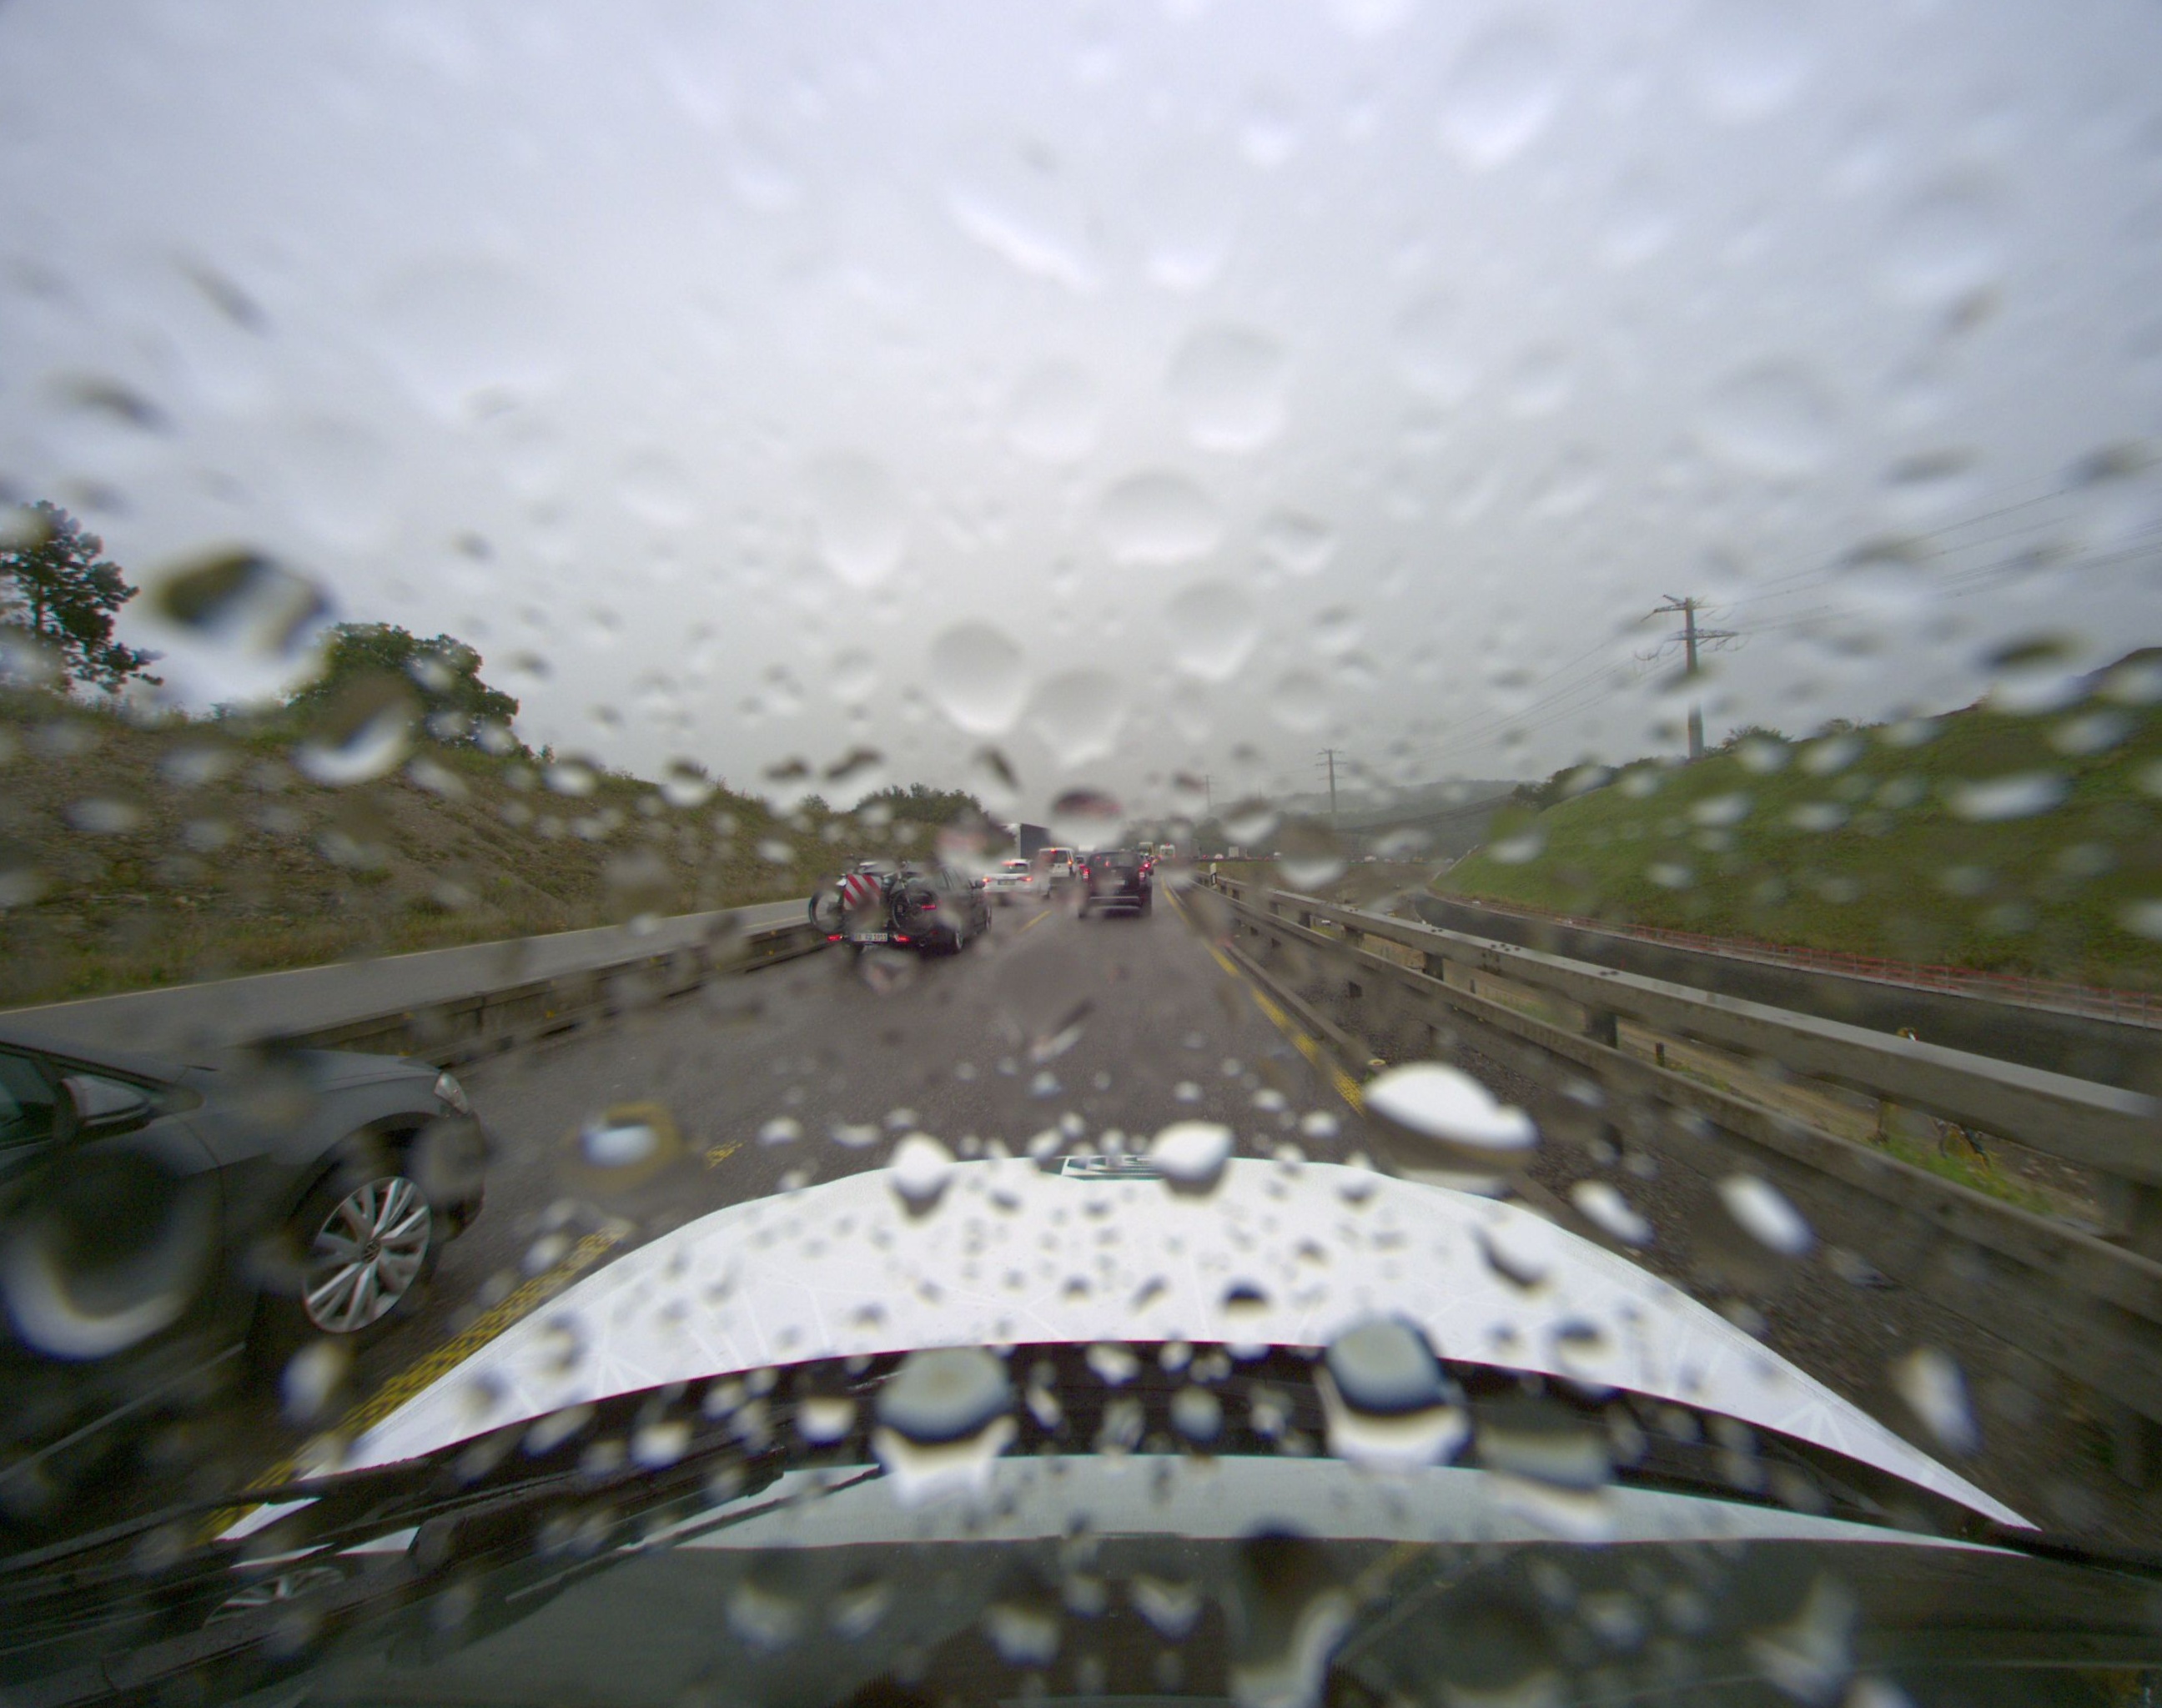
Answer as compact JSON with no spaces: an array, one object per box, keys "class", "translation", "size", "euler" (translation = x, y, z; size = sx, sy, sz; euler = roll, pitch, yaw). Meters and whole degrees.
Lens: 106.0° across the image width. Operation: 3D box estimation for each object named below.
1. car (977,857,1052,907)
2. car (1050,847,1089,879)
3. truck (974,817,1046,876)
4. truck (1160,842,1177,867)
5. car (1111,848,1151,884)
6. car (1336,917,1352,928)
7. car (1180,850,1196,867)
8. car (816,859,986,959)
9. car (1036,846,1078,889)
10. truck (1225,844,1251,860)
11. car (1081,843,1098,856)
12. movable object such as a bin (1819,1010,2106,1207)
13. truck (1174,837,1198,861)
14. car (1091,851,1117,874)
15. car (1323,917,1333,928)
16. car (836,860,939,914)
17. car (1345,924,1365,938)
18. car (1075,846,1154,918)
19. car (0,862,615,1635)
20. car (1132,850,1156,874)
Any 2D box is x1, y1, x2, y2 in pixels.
[{"class":"car","translation":[-2.081,0.838,26.697],"size":[1.860,1.460,4.551],"euler":[0,0,2]},{"class":"car","translation":[-0.597,0.474,46.124],"size":[1.859,1.708,4.095],"euler":[0,0,3]},{"class":"truck","translation":[-5.276,-0.536,64.047],"size":[2.918,4.097,14.415],"euler":[0,0,6]},{"class":"truck","translation":[11.669,0.033,108.128],"size":[2.137,3.166,6.473],"euler":[0,0,7]},{"class":"car","translation":[2.445,0.567,40.303],"size":[1.860,1.708,4.003],"euler":[0,0,2]},{"class":"car","translation":[51.193,13.336,158.572],"size":[1.984,1.816,4.006],"euler":[-1,0,6]},{"class":"car","translation":[12.124,0.525,92.128],"size":[1.765,1.916,4.008],"euler":[0,0,7]},{"class":"car","translation":[-2.982,0.863,14.343],"size":[1.820,1.476,3.782],"euler":[-1,0,5]},{"class":"car","translation":[-1.058,0.585,37.817],"size":[1.653,1.880,4.022],"euler":[0,0,2]},{"class":"truck","translation":[41.564,-0.450,215.022],"size":[4.679,4.150,15.757],"euler":[0,0,19]},{"class":"car","translation":[1.102,-0.565,104.708],"size":[1.859,1.581,4.095],"euler":[0,-2,4]},{"class":"movable object such as a bin","translation":[23.240,6.573,21.814],"size":[3.203,3.867,4.123],"euler":[1,1,1]},{"class":"truck","translation":[16.921,-0.751,130.895],"size":[3.179,3.761,8.538],"euler":[0,0,12]},{"class":"car","translation":[1.779,0.650,62.395],"size":[1.860,1.708,4.094],"euler":[-1,-1,2]},{"class":"car","translation":[54.028,15.009,178.376],"size":[1.978,2.013,4.017],"euler":[0,0,16]},{"class":"car","translation":[-5.759,0.939,24.855],"size":[1.860,1.460,4.551],"euler":[0,0,2]},{"class":"car","translation":[47.515,13.269,141.277],"size":[2.355,2.013,4.004],"euler":[0,0,3]},{"class":"car","translation":[0.910,0.649,20.812],"size":[1.796,1.646,3.780],"euler":[-1,0,4]},{"class":"car","translation":[-2.988,0.834,1.445],"size":[1.608,1.506,4.371],"euler":[-3,0,2]},{"class":"car","translation":[4.532,0.545,58.110],"size":[1.522,1.640,4.021],"euler":[0,0,8]}]
